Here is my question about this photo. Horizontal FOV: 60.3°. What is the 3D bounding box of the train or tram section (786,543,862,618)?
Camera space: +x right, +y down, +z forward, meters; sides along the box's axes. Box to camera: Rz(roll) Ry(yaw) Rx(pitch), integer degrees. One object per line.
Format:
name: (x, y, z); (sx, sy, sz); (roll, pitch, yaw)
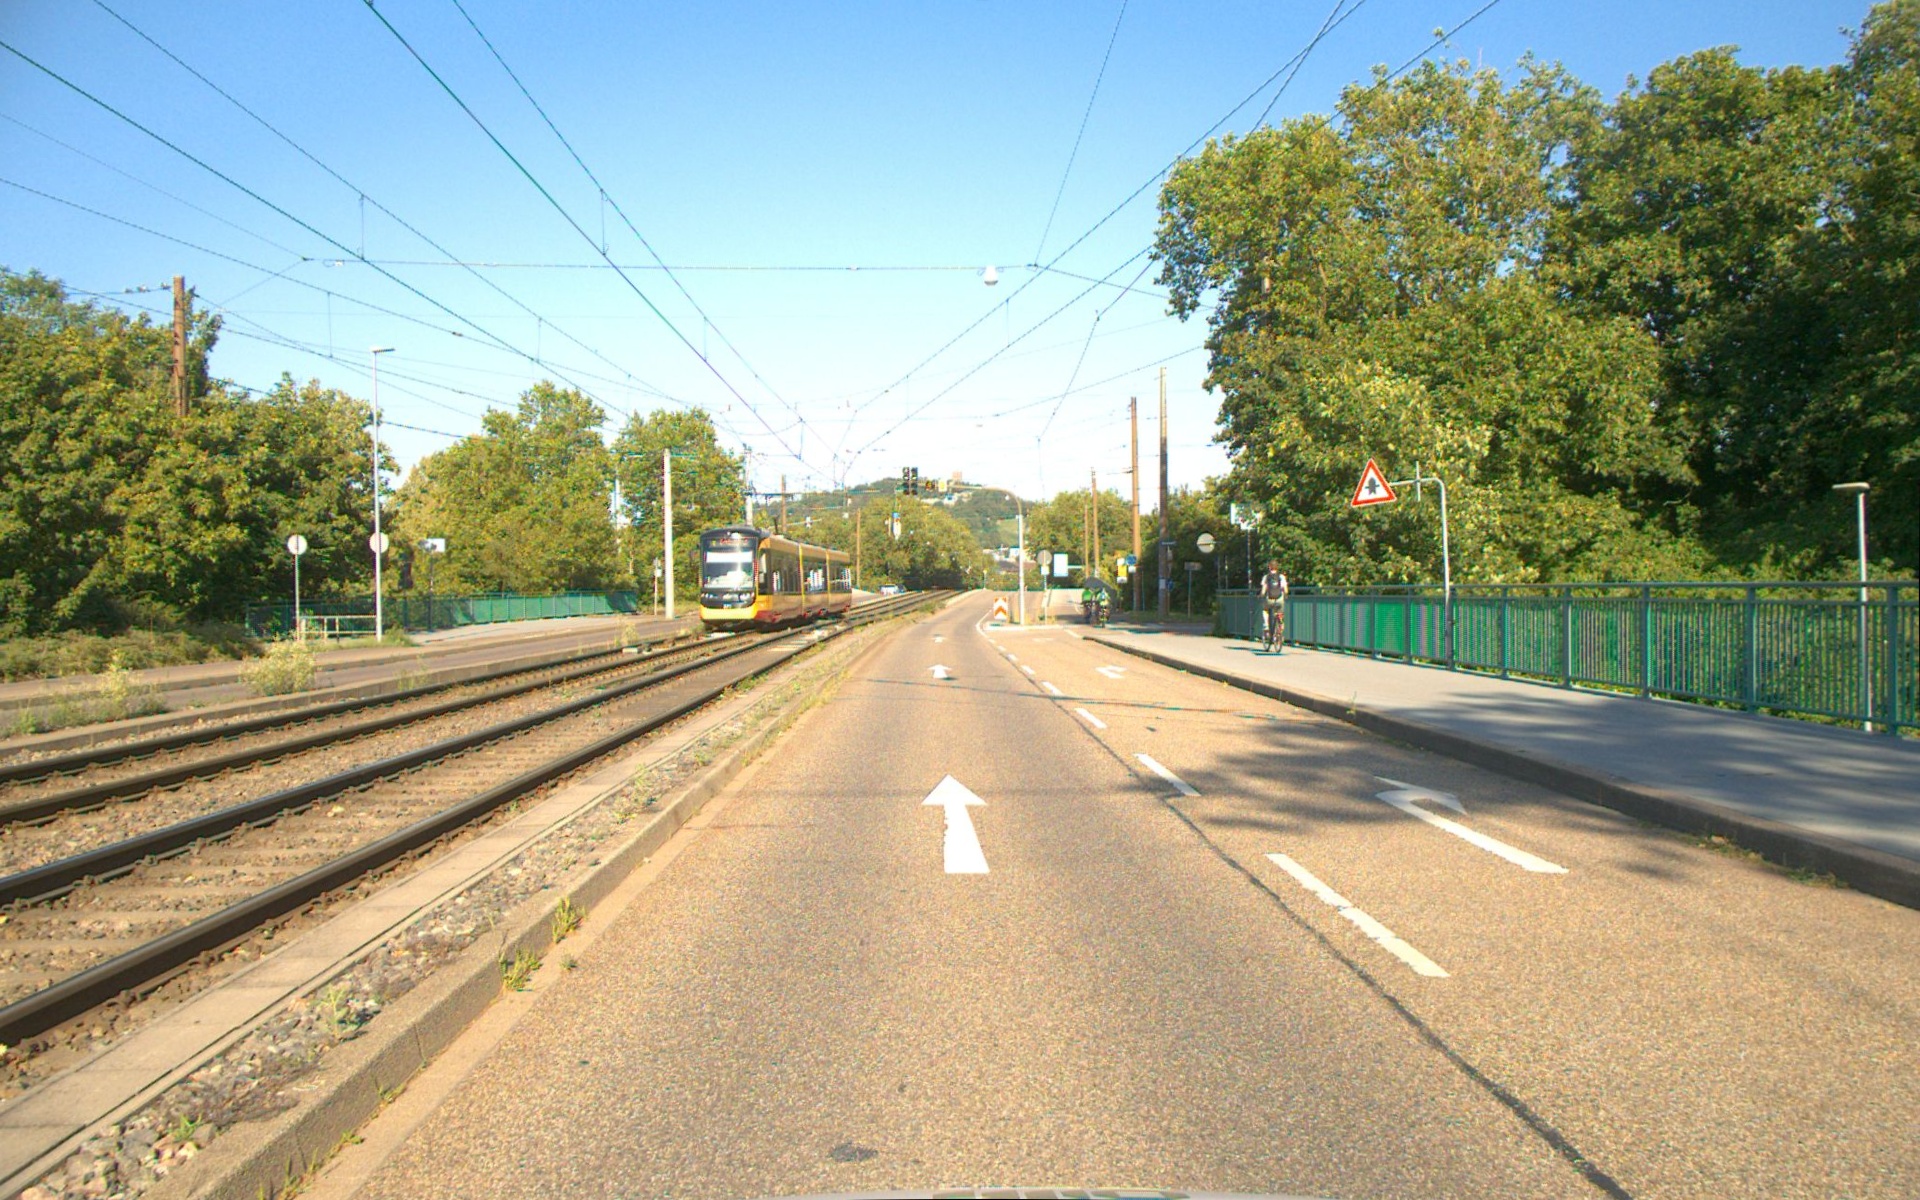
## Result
train or tram section: (-6.655, -0.940, 82.064); (2.589, 3.533, 8.897); (-1, 0, 3)

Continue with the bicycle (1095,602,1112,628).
bicycle: (5.892, 0.615, 67.872); (0.504, 1.060, 1.975); (-1, 0, -1)

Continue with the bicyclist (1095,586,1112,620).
bicyclist: (5.897, 0.113, 67.806); (0.592, 1.403, 0.975); (-1, 0, -1)

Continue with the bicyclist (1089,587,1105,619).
bicyclist: (6.008, 0.122, 72.390); (0.592, 1.403, 0.975); (-1, 0, -1)

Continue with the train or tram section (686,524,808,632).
train or tram section: (-7.711, -0.765, 61.428); (2.589, 3.629, 10.836); (-1, 0, 3)

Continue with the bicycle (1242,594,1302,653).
bicycle: (6.602, 0.481, 35.079); (0.713, 1.196, 2.694); (-1, 0, -1)

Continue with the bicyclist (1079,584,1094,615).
bicyclist: (5.796, -0.036, 75.666); (0.592, 1.403, 0.975); (-1, 0, -1)

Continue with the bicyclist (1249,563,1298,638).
bicyclist: (6.600, 0.011, 34.860); (0.807, 1.547, 0.975); (-1, 0, -1)

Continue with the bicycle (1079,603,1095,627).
bicycle: (5.796, 0.667, 75.629); (0.528, 1.060, 1.975); (-1, 0, -1)

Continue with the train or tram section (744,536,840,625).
train or tram section: (-7.171, -0.819, 72.229); (2.589, 3.537, 10.836); (-1, 0, 3)

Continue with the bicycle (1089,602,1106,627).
bicycle: (6.022, 0.648, 72.372); (0.528, 1.060, 1.975); (-1, 0, -1)

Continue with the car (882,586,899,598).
car: (-8.377, -0.956, 198.609); (1.910, 1.512, 3.999); (-1, 0, -1)

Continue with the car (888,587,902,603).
car: (-8.262, -0.655, 210.487); (1.752, 2.049, 3.999); (-1, 0, -1)
